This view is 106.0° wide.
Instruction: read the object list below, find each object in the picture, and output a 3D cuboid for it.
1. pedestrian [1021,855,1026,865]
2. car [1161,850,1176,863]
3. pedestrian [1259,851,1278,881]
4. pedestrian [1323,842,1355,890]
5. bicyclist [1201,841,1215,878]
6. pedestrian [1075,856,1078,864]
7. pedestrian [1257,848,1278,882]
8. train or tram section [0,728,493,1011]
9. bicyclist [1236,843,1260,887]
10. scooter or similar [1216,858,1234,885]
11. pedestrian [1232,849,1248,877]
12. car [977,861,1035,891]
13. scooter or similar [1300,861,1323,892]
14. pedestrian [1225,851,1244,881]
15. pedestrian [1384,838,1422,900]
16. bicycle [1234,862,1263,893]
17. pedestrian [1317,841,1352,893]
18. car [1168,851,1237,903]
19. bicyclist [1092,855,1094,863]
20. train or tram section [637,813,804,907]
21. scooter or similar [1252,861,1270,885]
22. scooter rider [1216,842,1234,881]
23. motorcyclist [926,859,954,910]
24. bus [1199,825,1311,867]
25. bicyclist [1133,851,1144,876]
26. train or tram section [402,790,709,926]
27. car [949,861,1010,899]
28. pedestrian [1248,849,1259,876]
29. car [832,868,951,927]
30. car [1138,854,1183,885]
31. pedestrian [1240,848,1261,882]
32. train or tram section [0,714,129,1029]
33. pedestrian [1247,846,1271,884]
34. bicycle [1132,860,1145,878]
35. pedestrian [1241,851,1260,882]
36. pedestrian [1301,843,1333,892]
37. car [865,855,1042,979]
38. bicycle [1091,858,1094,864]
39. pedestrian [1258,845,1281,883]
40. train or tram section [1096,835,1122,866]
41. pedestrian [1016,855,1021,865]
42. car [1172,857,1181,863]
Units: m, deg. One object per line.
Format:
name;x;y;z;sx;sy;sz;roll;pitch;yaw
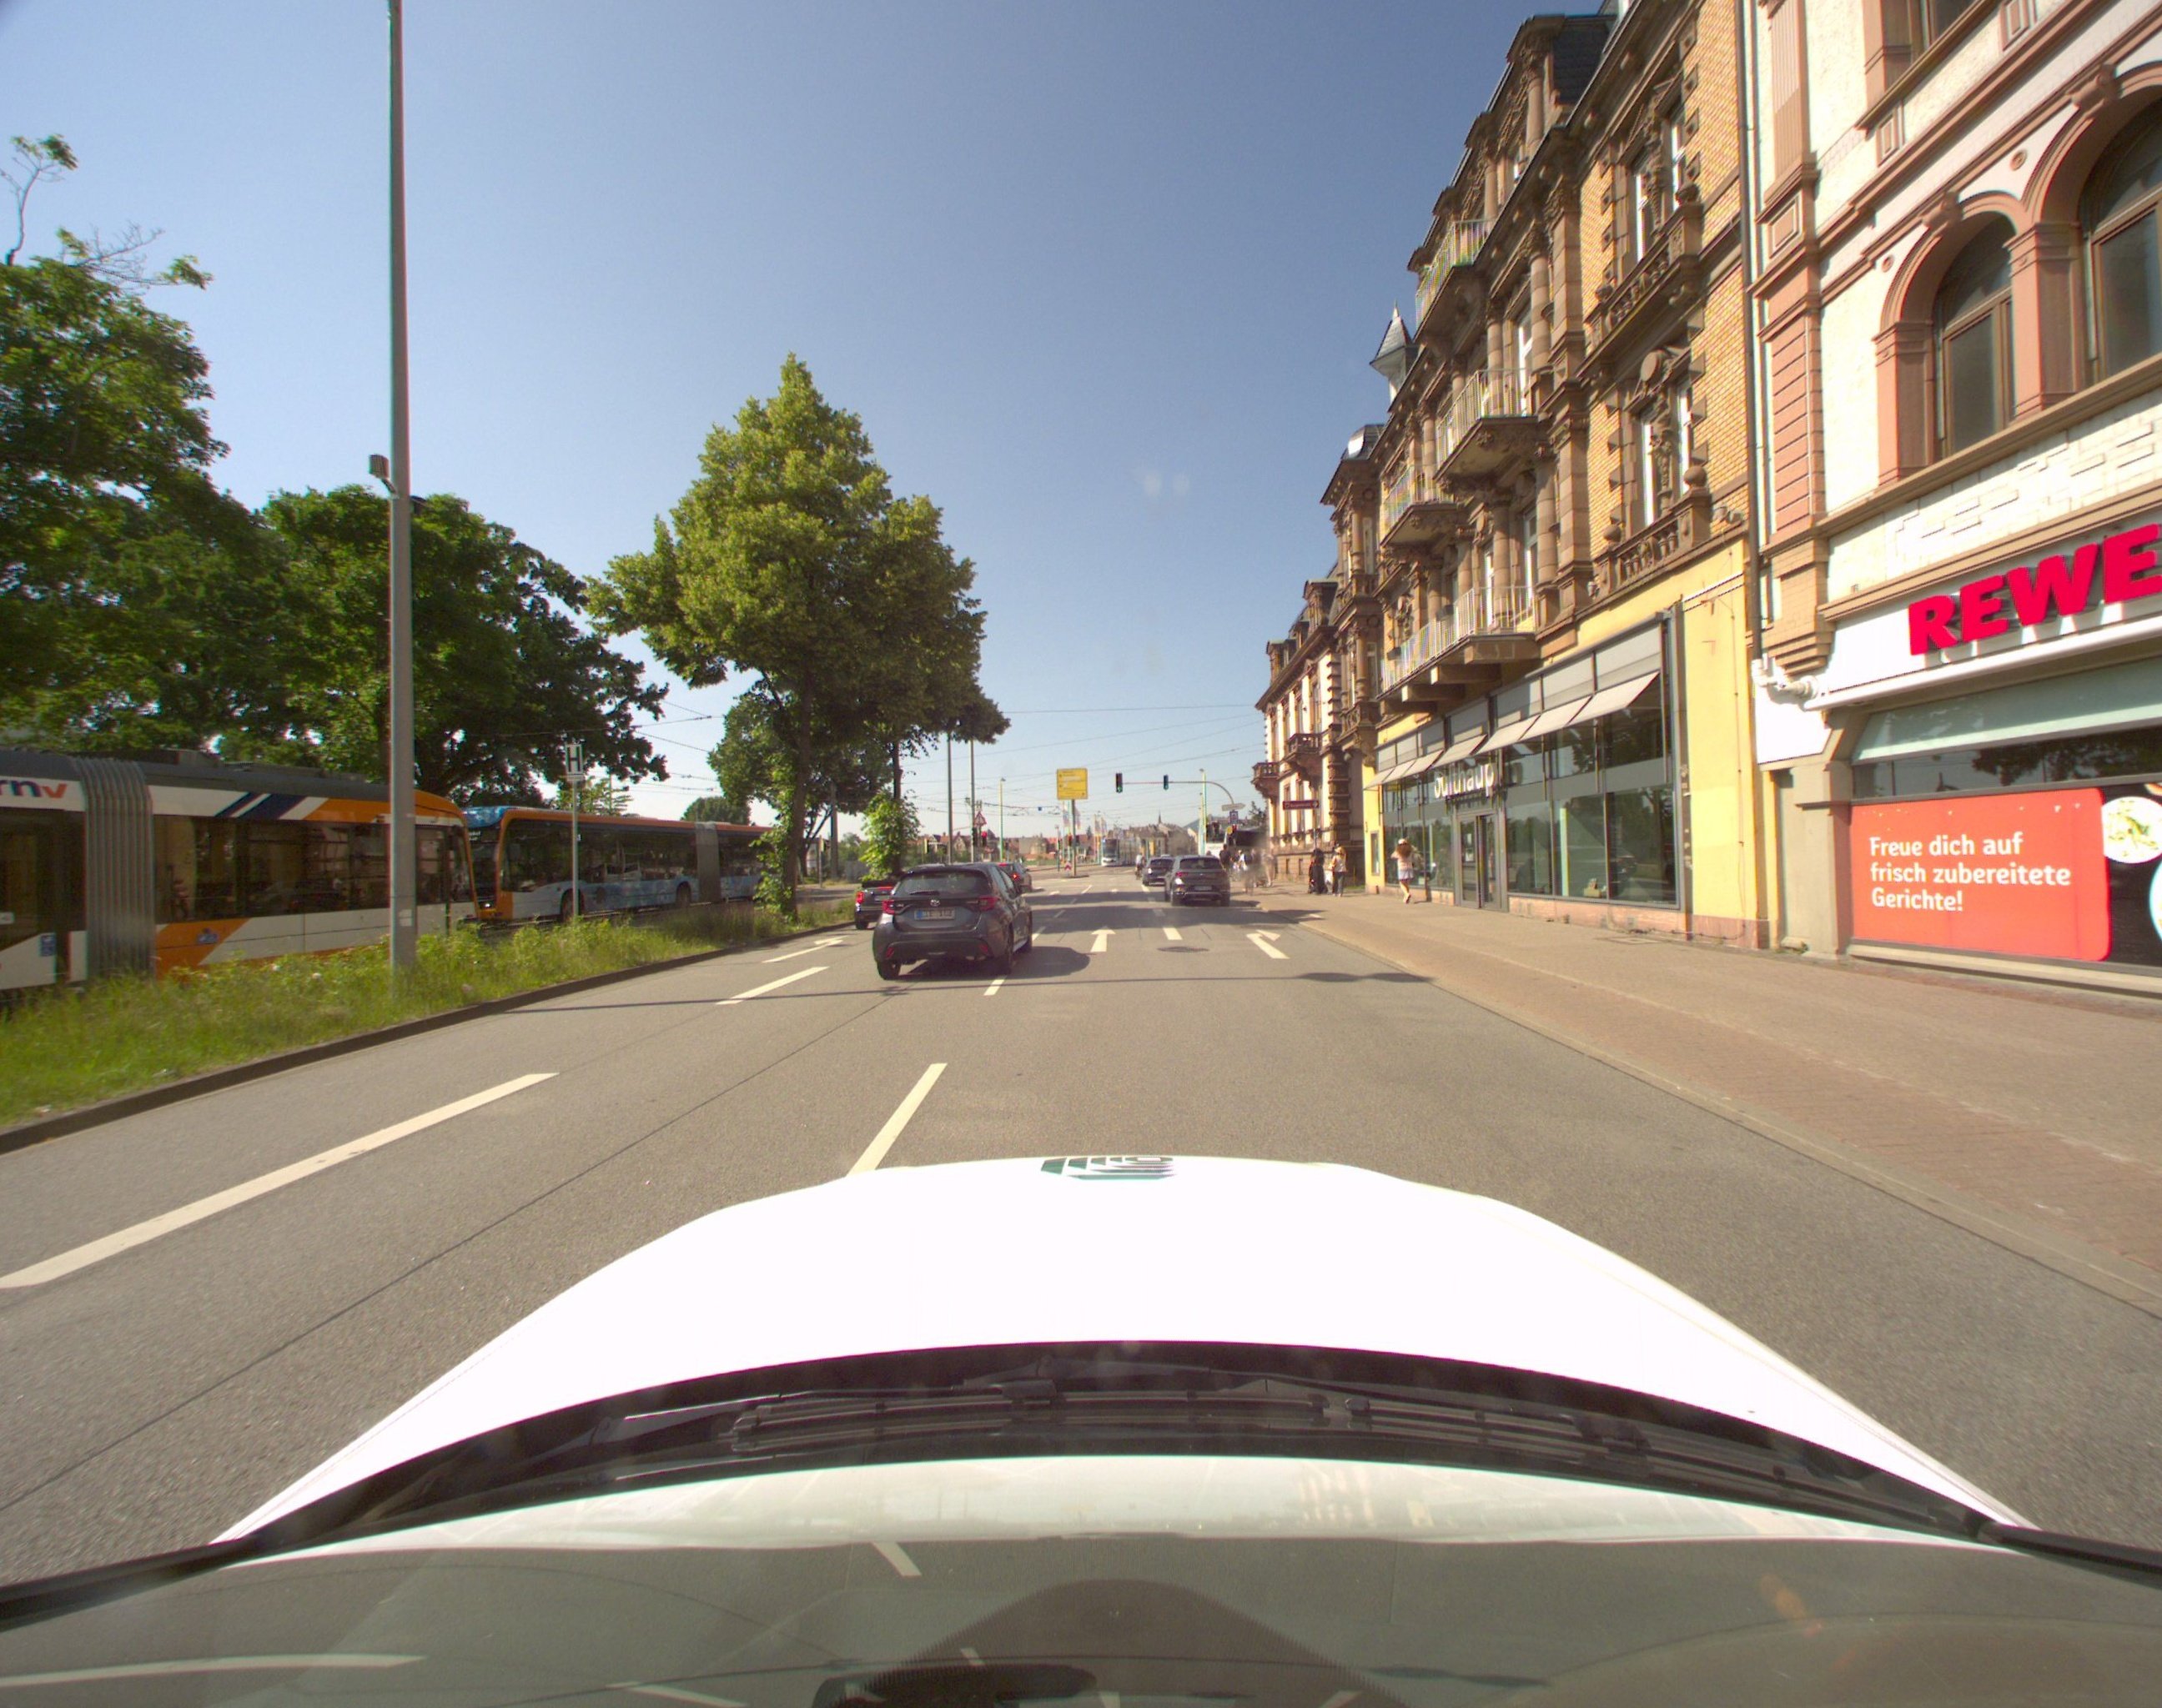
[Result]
pedestrian;-7.731;0.806;108.997;0.556;1.416;0.636;1;-1;1
car;11.315;0.352;105.747;1.850;1.507;4.004;1;-1;4
pedestrian;10.407;0.684;45.140;0.859;1.640;0.876;1;-1;2
pedestrian;9.119;0.431;28.809;0.859;1.640;0.876;1;-1;2
bicyclist;6.907;0.310;44.156;0.685;1.962;0.779;1;-1;6
pedestrian;-0.893;1.123;155.556;0.556;1.416;0.636;1;-1;1
pedestrian;9.217;0.559;40.208;0.859;1.640;0.876;1;-1;2
train or tram section;-13.348;0.204;13.437;2.602;3.581;6.022;1;-1;3
bicyclist;6.081;0.406;29.651;0.685;1.577;1.050;1;-1;3
scooter or similar;6.349;0.767;36.013;0.685;1.167;1.466;1;-1;6
pedestrian;9.681;0.541;49.601;0.859;1.640;0.876;1;-1;2
car;-3.491;1.026;38.641;2.028;1.332;4.004;1;-1;4
scooter or similar;8.059;0.793;28.534;0.598;1.047;0.800;1;-1;1
pedestrian;8.417;0.663;44.601;0.859;1.640;0.876;1;-1;2
pedestrian;8.569;0.394;21.700;0.652;1.621;0.816;-2;0;2
bicycle;6.067;0.846;29.596;0.731;1.093;1.899;1;-1;3
pedestrian;8.233;0.425;26.508;0.859;1.640;0.876;-2;0;2
car;3.786;0.701;25.975;1.865;1.493;4.004;1;-1;4
bicyclist;2.483;1.074;168.784;0.556;1.537;0.744;1;-1;1
train or tram section;-15.453;0.260;35.781;2.808;3.581;8.240;1;-1;7
scooter or similar;7.740;0.817;35.036;0.598;1.047;0.800;1;-1;1
scooter rider;6.377;0.336;36.062;0.685;1.729;0.779;1;-1;6
motorcyclist;-4.454;0.973;25.729;0.687;1.556;0.718;-2;-2;0
bus;13.036;-0.533;60.536;8.674;2.777;2.947;2;-1;-34
bicyclist;3.692;0.596;52.275;0.686;1.577;1.050;1;-1;2
train or tram section;-16.254;0.147;26.653;2.809;3.581;10.044;1;-1;5
car;-3.719;0.958;30.435;1.445;1.301;4.004;1;-1;4
pedestrian;10.553;0.525;49.893;0.574;1.640;0.611;1;-1;2
car;-4.735;1.053;20.927;1.807;1.332;4.004;1;-1;4
car;4.017;0.783;41.751;1.987;1.493;4.000;1;-1;1
pedestrian;8.319;0.538;40.102;0.859;1.640;0.876;1;-1;2
train or tram section;-13.693;0.160;6.984;2.602;3.581;6.903;1;-1;3
pedestrian;7.797;0.475;35.741;0.859;1.640;0.876;1;-1;2
bicycle;3.692;0.955;52.415;0.731;1.093;1.898;1;-1;2
pedestrian;9.349;0.687;44.949;0.859;1.640;0.876;1;-1;2
pedestrian;8.065;0.461;27.851;0.859;1.640;0.876;1;-1;2
car;-1.678;0.825;12.076;1.770;1.475;4.002;-2;-1;3
bicycle;2.466;1.432;168.759;0.556;1.125;1.223;1;-1;2
pedestrian;8.519;0.450;36.839;0.859;1.640;0.876;-1;0;2
train or tram section;3.682;-0.396;105.553;2.809;3.777;8.238;1;0;5
pedestrian;-8.395;0.794;109.024;0.556;1.416;0.636;1;-1;1
car;23.474;1.430;199.974;1.850;1.507;4.004;1;-1;4
